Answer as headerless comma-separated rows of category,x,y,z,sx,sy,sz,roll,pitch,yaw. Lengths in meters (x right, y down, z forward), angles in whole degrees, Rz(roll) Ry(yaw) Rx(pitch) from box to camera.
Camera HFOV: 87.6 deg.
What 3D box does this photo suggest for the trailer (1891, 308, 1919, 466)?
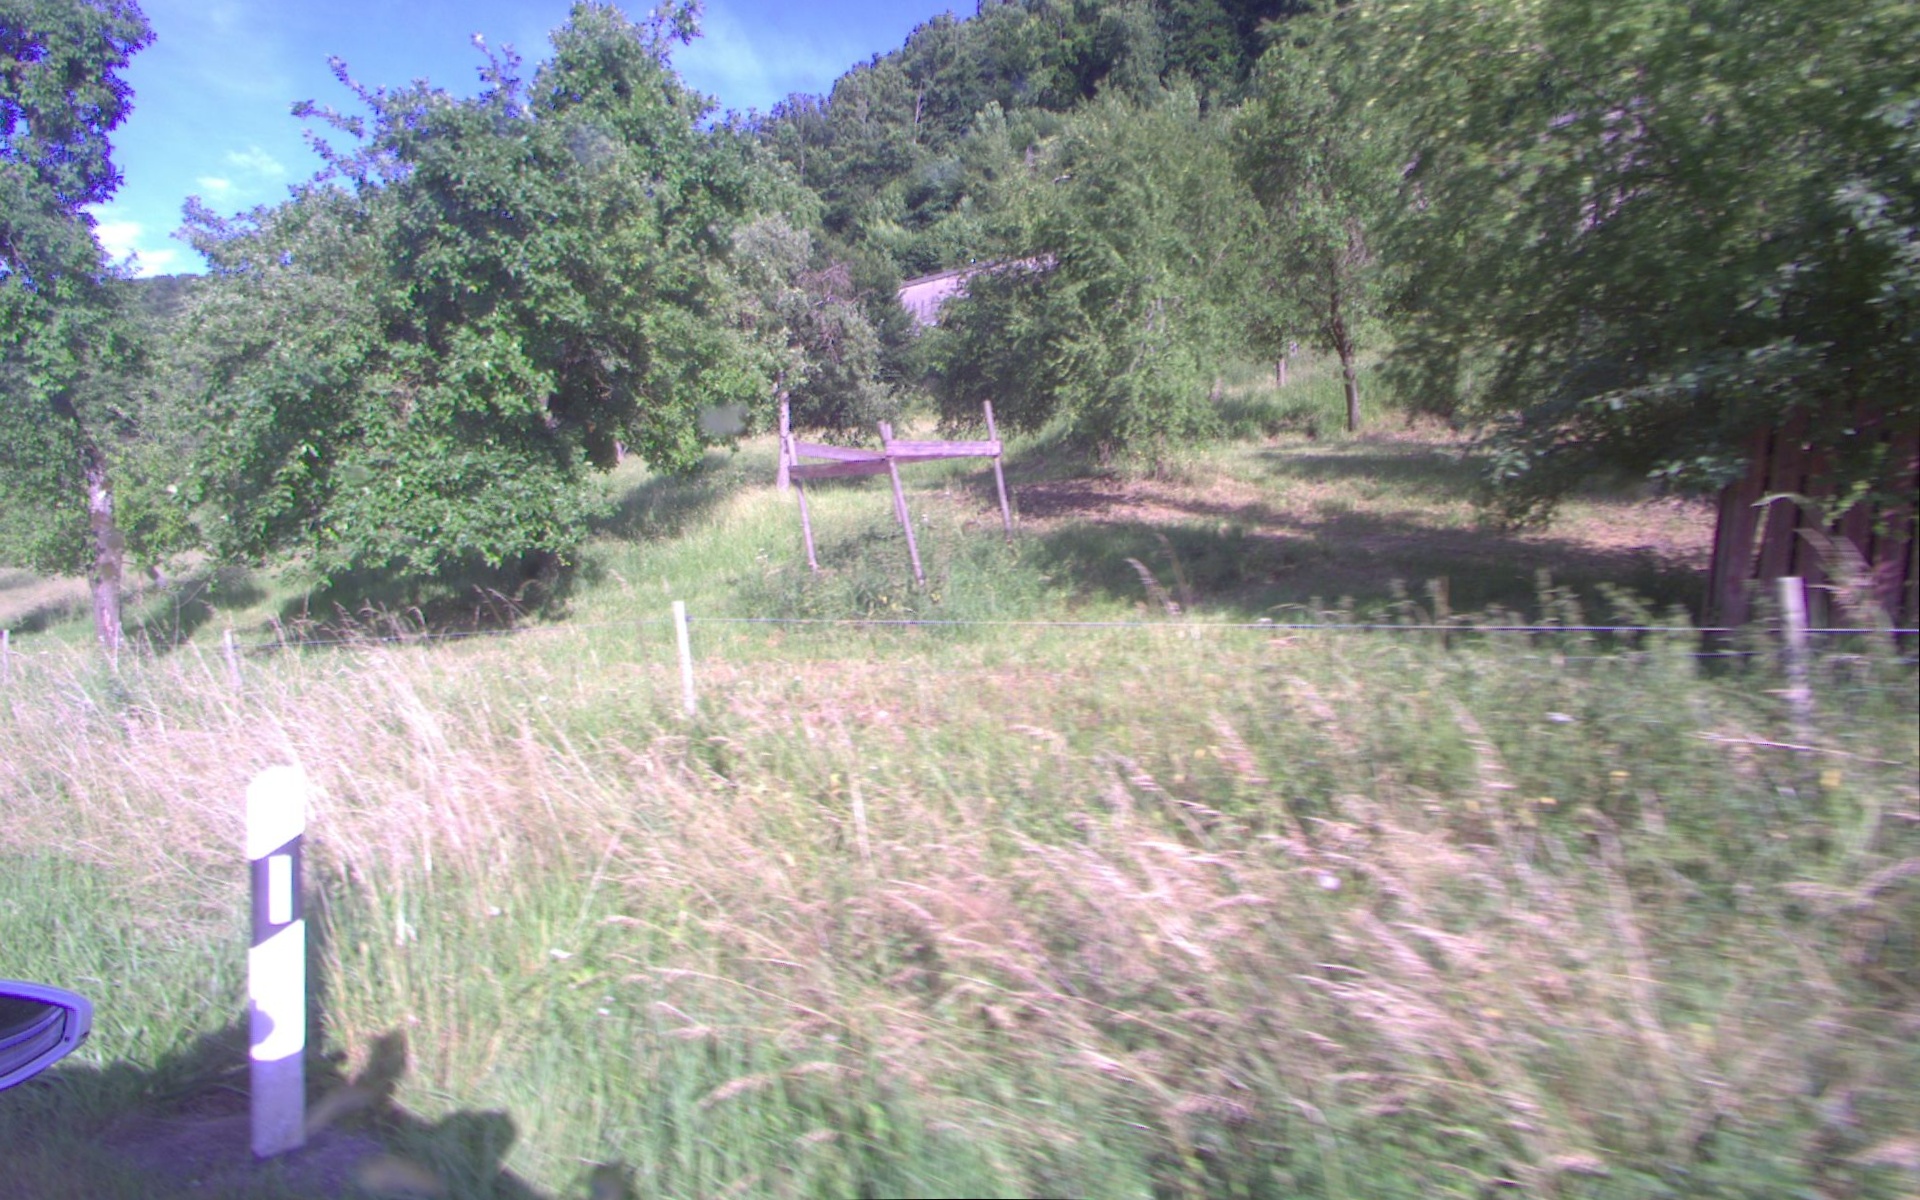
trailer,18.453,-3.557,15.659,5.164,2.594,2.149,3,3,29
